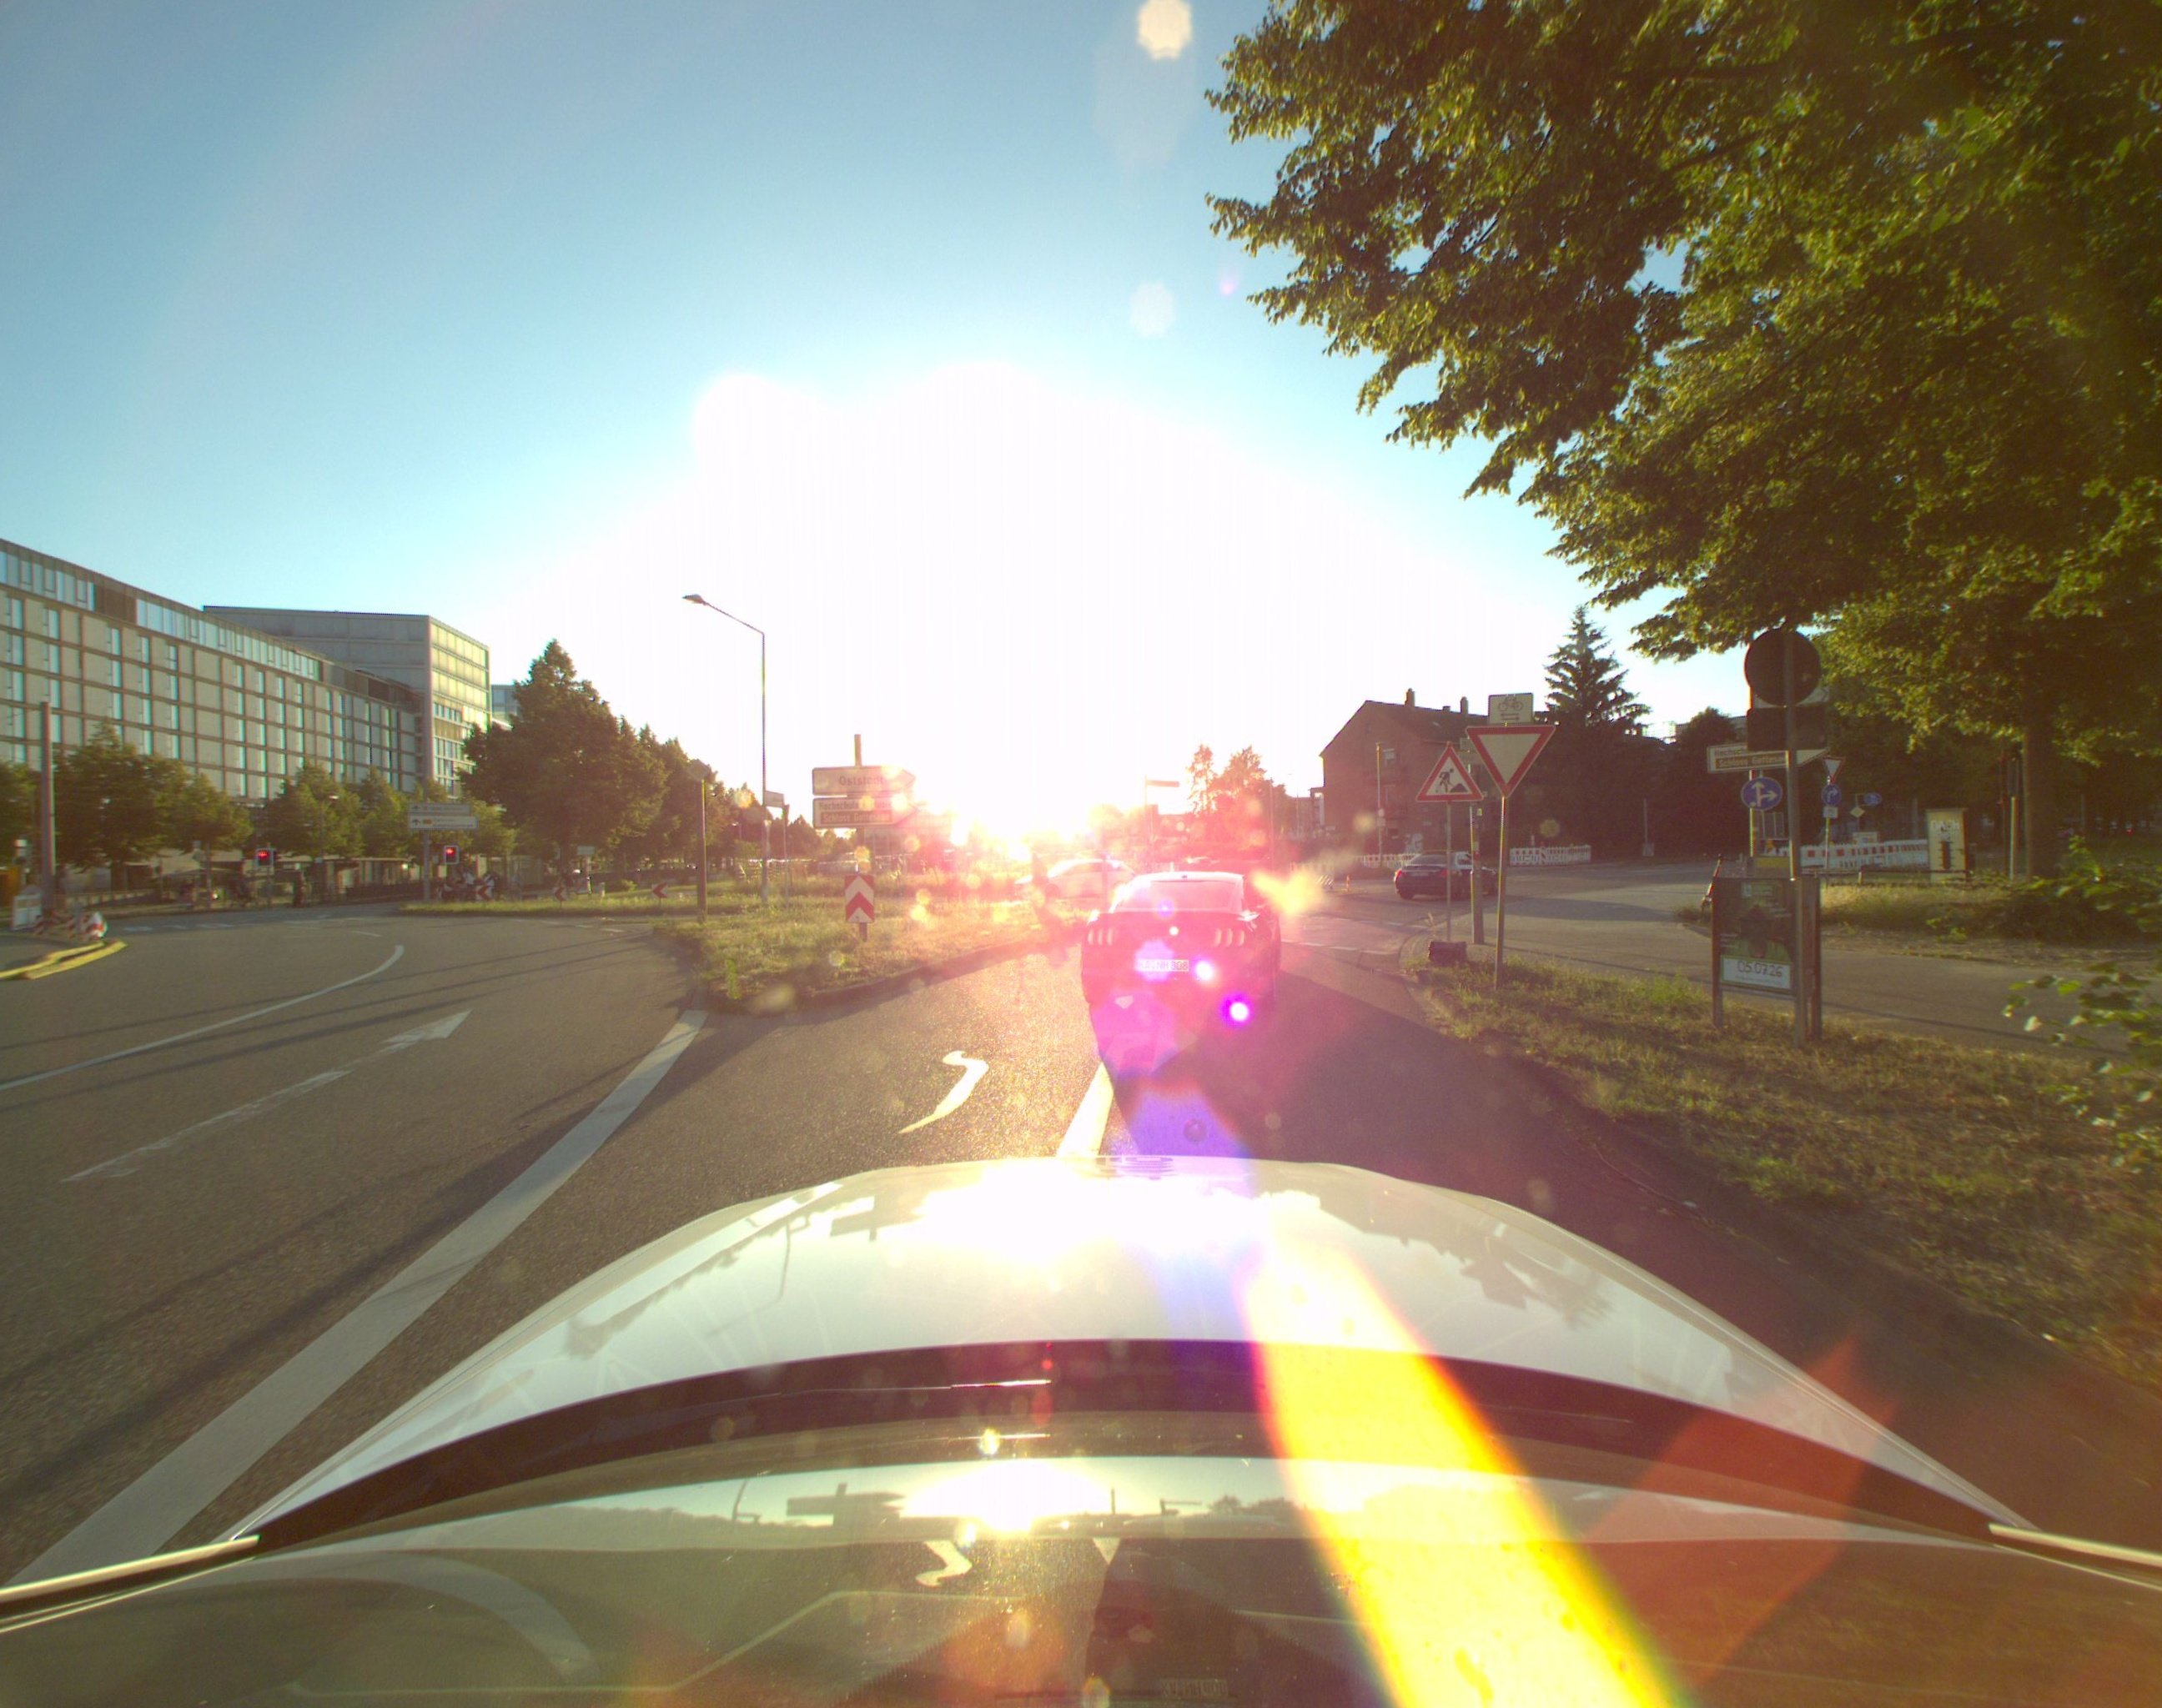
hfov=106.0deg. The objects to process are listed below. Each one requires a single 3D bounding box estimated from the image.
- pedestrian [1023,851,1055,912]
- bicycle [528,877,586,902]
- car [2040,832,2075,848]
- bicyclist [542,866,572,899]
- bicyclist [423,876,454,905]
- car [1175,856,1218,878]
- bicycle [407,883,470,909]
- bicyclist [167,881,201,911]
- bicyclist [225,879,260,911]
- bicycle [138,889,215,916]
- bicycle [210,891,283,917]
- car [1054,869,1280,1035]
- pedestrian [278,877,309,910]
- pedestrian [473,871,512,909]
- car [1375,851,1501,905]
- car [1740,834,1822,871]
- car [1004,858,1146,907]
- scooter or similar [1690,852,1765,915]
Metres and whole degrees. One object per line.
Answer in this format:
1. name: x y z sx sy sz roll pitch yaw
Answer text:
1. pedestrian: -1.208 0.781 23.501 0.840 1.686 0.887 -1 0 0
2. bicycle: -26.645 1.807 41.437 2.394 1.167 0.754 -1 -1 -1
3. car: 99.755 -1.394 83.212 4.094 1.602 1.937 -1 0 -35
4. bicyclist: -26.643 1.441 41.419 0.972 1.612 0.754 -1 -1 -1
5. bicyclist: -32.125 1.817 40.732 0.974 1.394 0.753 -1 -1 -7
6. car: 9.245 1.051 65.448 1.997 1.706 3.979 -1 -1 -15
7. bicycle: -32.130 2.098 40.749 2.399 1.167 0.753 -1 -1 -7
8. bicyclist: -43.734 2.055 39.706 0.880 1.392 0.749 -1 -1 -23
9. bicyclist: -41.819 2.025 40.619 0.980 1.525 0.748 -1 -1 -26
10. bicycle: -43.935 2.343 39.600 2.412 1.167 0.749 -1 -1 -23
11. bicycle: -41.636 2.488 40.655 2.414 1.167 0.748 -1 -1 -26
12. car: 1.287 0.895 9.502 1.937 1.342 4.689 -1 0 14
13. pedestrian: -42.219 2.099 43.667 0.888 1.707 0.789 -1 -1 -20
14. pedestrian: -29.301 1.791 40.562 1.151 1.827 0.982 -1 -1 8
15. car: 10.851 0.672 24.611 4.455 1.427 1.933 -1 0 -44
16. car: 35.379 -0.107 41.161 4.090 1.602 1.939 -3 2 -30
17. car: -0.196 0.991 29.354 4.666 1.453 2.057 -3 -1 -26
18. scooter or similar: 12.967 0.582 16.352 1.114 1.238 0.443 -1 0 5
